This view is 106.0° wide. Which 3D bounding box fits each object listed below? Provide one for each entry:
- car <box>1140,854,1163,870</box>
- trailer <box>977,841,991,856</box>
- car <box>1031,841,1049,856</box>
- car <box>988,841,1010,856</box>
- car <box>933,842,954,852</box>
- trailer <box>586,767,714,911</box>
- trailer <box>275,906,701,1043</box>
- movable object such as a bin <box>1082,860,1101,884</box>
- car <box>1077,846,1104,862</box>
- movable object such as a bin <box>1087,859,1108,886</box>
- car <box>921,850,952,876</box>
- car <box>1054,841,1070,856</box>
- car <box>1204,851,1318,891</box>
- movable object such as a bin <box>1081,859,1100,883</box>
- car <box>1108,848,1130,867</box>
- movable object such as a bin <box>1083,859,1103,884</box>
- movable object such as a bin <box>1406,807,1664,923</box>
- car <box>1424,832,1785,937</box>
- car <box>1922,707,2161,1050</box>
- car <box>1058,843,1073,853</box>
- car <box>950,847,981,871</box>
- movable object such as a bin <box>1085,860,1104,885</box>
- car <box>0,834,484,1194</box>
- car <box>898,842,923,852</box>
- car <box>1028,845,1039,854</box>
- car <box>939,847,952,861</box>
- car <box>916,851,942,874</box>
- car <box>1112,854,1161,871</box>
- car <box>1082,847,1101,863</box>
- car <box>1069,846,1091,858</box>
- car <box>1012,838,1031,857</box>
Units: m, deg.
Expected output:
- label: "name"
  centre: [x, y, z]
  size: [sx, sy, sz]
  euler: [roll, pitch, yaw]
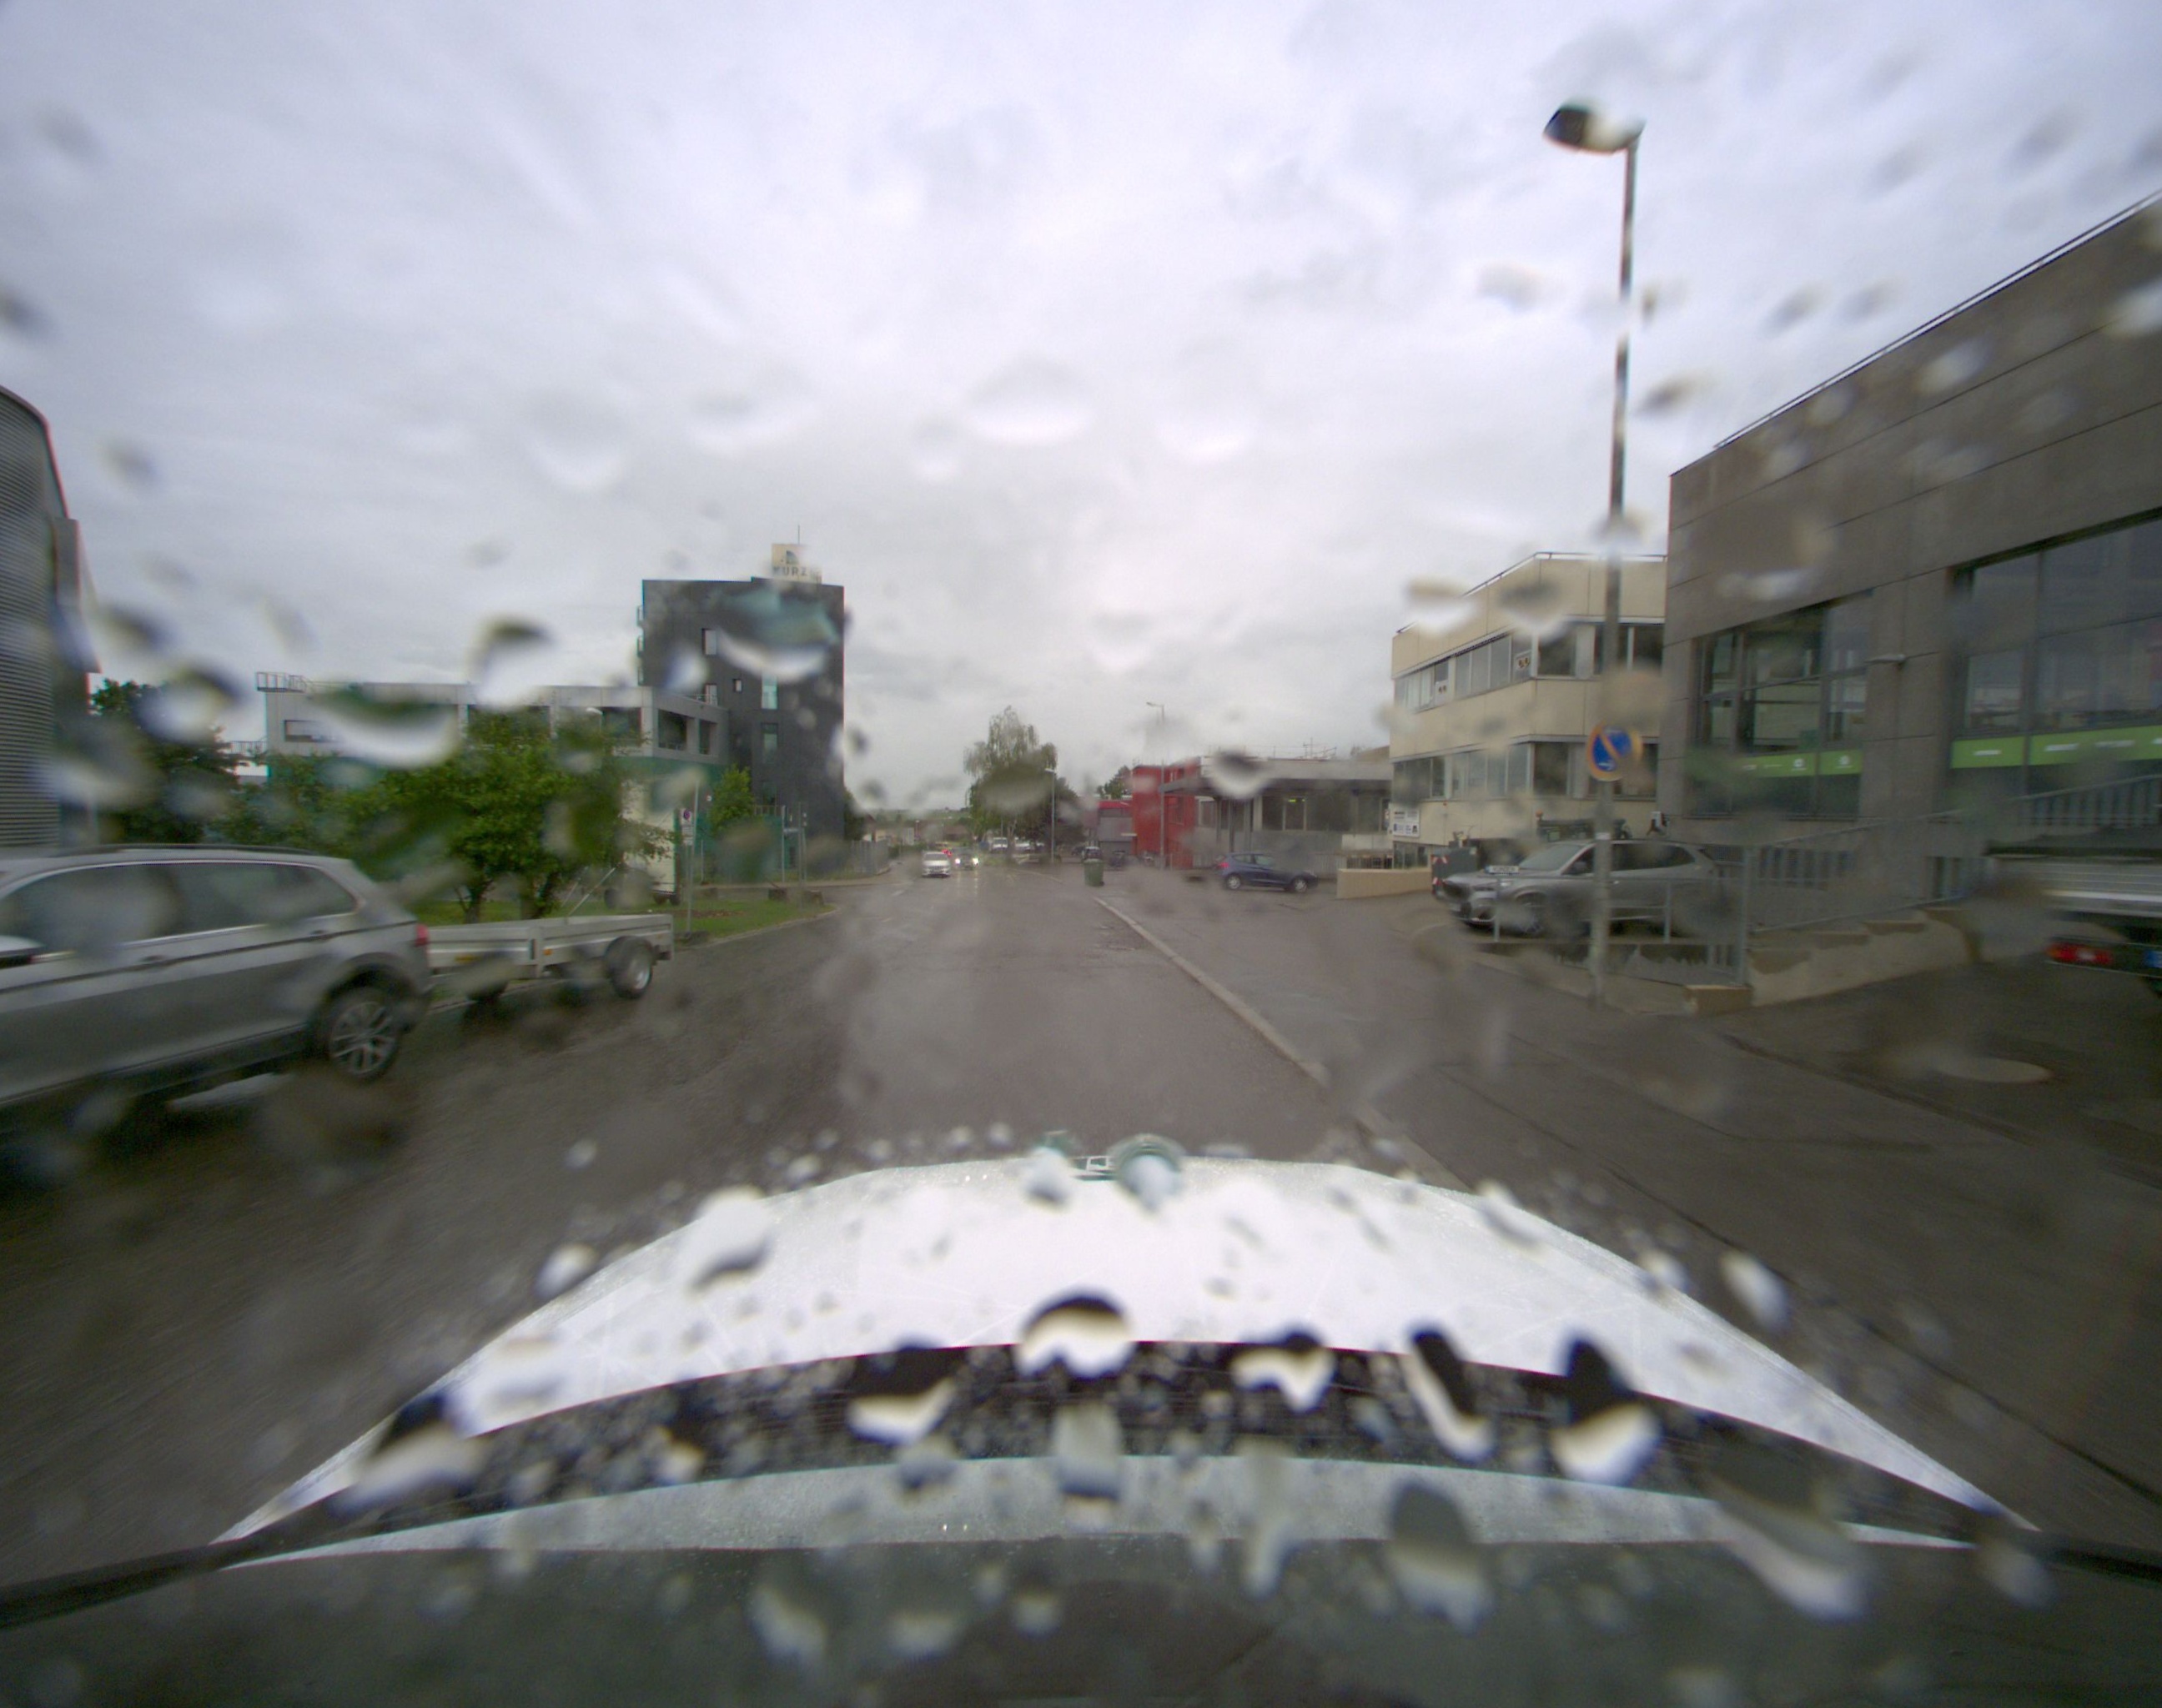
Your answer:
- label: "car"
  centre: [6.469, 0.778, 75.327]
  size: [1.724, 1.422, 3.998]
  euler: [0, -1, -1]
- label: "trailer"
  centre: [-13.567, -0.721, 113.550]
  size: [1.852, 2.013, 3.988]
  euler: [0, 0, -9]
- label: "car"
  centre: [-5.595, -0.752, 111.179]
  size: [2.144, 2.014, 3.929]
  euler: [0, -1, -7]
- label: "car"
  centre: [-11.023, -0.743, 109.620]
  size: [2.270, 2.014, 3.978]
  euler: [0, -1, -16]
- label: "car"
  centre: [-31.780, -1.621, 188.404]
  size: [4.220, 2.226, 2.003]
  euler: [0, -1, 5]
- label: "trailer"
  centre: [-13.680, -0.421, 25.781]
  size: [4.132, 4.203, 2.019]
  euler: [-1, -1, 37]
- label: "trailer"
  centre: [-5.677, 1.096, 8.518]
  size: [1.676, 0.888, 3.894]
  euler: [0, -1, -2]
- label: "movable object such as a bin"
  centre: [0.484, 0.796, 36.796]
  size: [0.808, 1.076, 0.580]
  euler: [-1, 0, -6]
- label: "car"
  centre: [0.939, -0.004, 82.945]
  size: [2.064, 1.552, 3.987]
  euler: [0, -1, -9]
- label: "movable object such as a bin"
  centre: [0.692, 0.788, 35.021]
  size: [0.805, 1.092, 0.708]
  euler: [-1, 0, -6]
- label: "car"
  centre: [-9.271, 0.578, 52.045]
  size: [1.772, 1.513, 4.127]
  euler: [-1, -1, -12]
- label: "car"
  centre: [-2.652, -0.762, 111.630]
  size: [1.780, 2.014, 3.623]
  euler: [0, -1, -7]
- label: "car"
  centre: [6.767, 0.640, 30.891]
  size: [3.884, 1.383, 1.819]
  euler: [2, -1, -2]
- label: "movable object such as a bin"
  centre: [0.421, 0.786, 37.397]
  size: [0.801, 1.079, 0.623]
  euler: [-1, 0, -6]
- label: "car"
  centre: [3.537, 0.339, 76.214]
  size: [1.734, 1.653, 3.998]
  euler: [0, -1, -1]
- label: "movable object such as a bin"
  centre: [0.541, 0.791, 36.239]
  size: [0.808, 1.090, 0.540]
  euler: [-1, 0, -6]
- label: "movable object such as a bin"
  centre: [8.789, 0.204, 15.959]
  size: [4.241, 2.110, 1.476]
  euler: [-1, 0, -1]
- label: "car"
  centre: [8.859, 0.483, 14.081]
  size: [5.078, 1.613, 1.924]
  euler: [-1, 0, -2]
- label: "car"
  centre: [8.890, -0.197, 4.885]
  size: [5.284, 2.013, 2.220]
  euler: [-8, -1, -1]
- label: "car"
  centre: [-2.189, -0.849, 117.519]
  size: [1.637, 1.453, 3.498]
  euler: [0, -1, -10]
- label: "car"
  centre: [-9.592, 0.384, 67.397]
  size: [1.888, 1.886, 5.045]
  euler: [0, 0, -15]
- label: "movable object such as a bin"
  centre: [0.584, 0.793, 35.666]
  size: [0.774, 1.076, 0.582]
  euler: [-1, 0, -6]
- label: "car"
  centre: [-5.735, 0.724, 4.141]
  size: [1.952, 1.577, 4.835]
  euler: [-1, -1, -2]
- label: "car"
  centre: [-30.715, -1.243, 146.796]
  size: [3.975, 1.882, 1.999]
  euler: [0, 0, -1]
- label: "car"
  centre: [-6.840, -0.647, 116.773]
  size: [1.397, 1.326, 2.694]
  euler: [0, -1, -7]
- label: "car"
  centre: [-19.685, 0.046, 118.147]
  size: [1.869, 2.029, 3.986]
  euler: [0, -1, -10]
- label: "car"
  centre: [-11.738, 0.629, 62.790]
  size: [1.702, 1.609, 3.982]
  euler: [-1, 1, -14]
- label: "car"
  centre: [3.931, 0.607, 57.717]
  size: [3.389, 1.163, 1.792]
  euler: [0, 0, 0]
- label: "car"
  centre: [0.963, 0.120, 75.468]
  size: [1.692, 1.475, 3.998]
  euler: [0, -1, -1]
- label: "car"
  centre: [-0.088, -0.249, 97.549]
  size: [2.545, 1.352, 1.239]
  euler: [0, 0, -7]
- label: "car"
  centre: [-8.030, -0.801, 110.144]
  size: [2.192, 2.459, 3.987]
  euler: [0, -1, -9]
